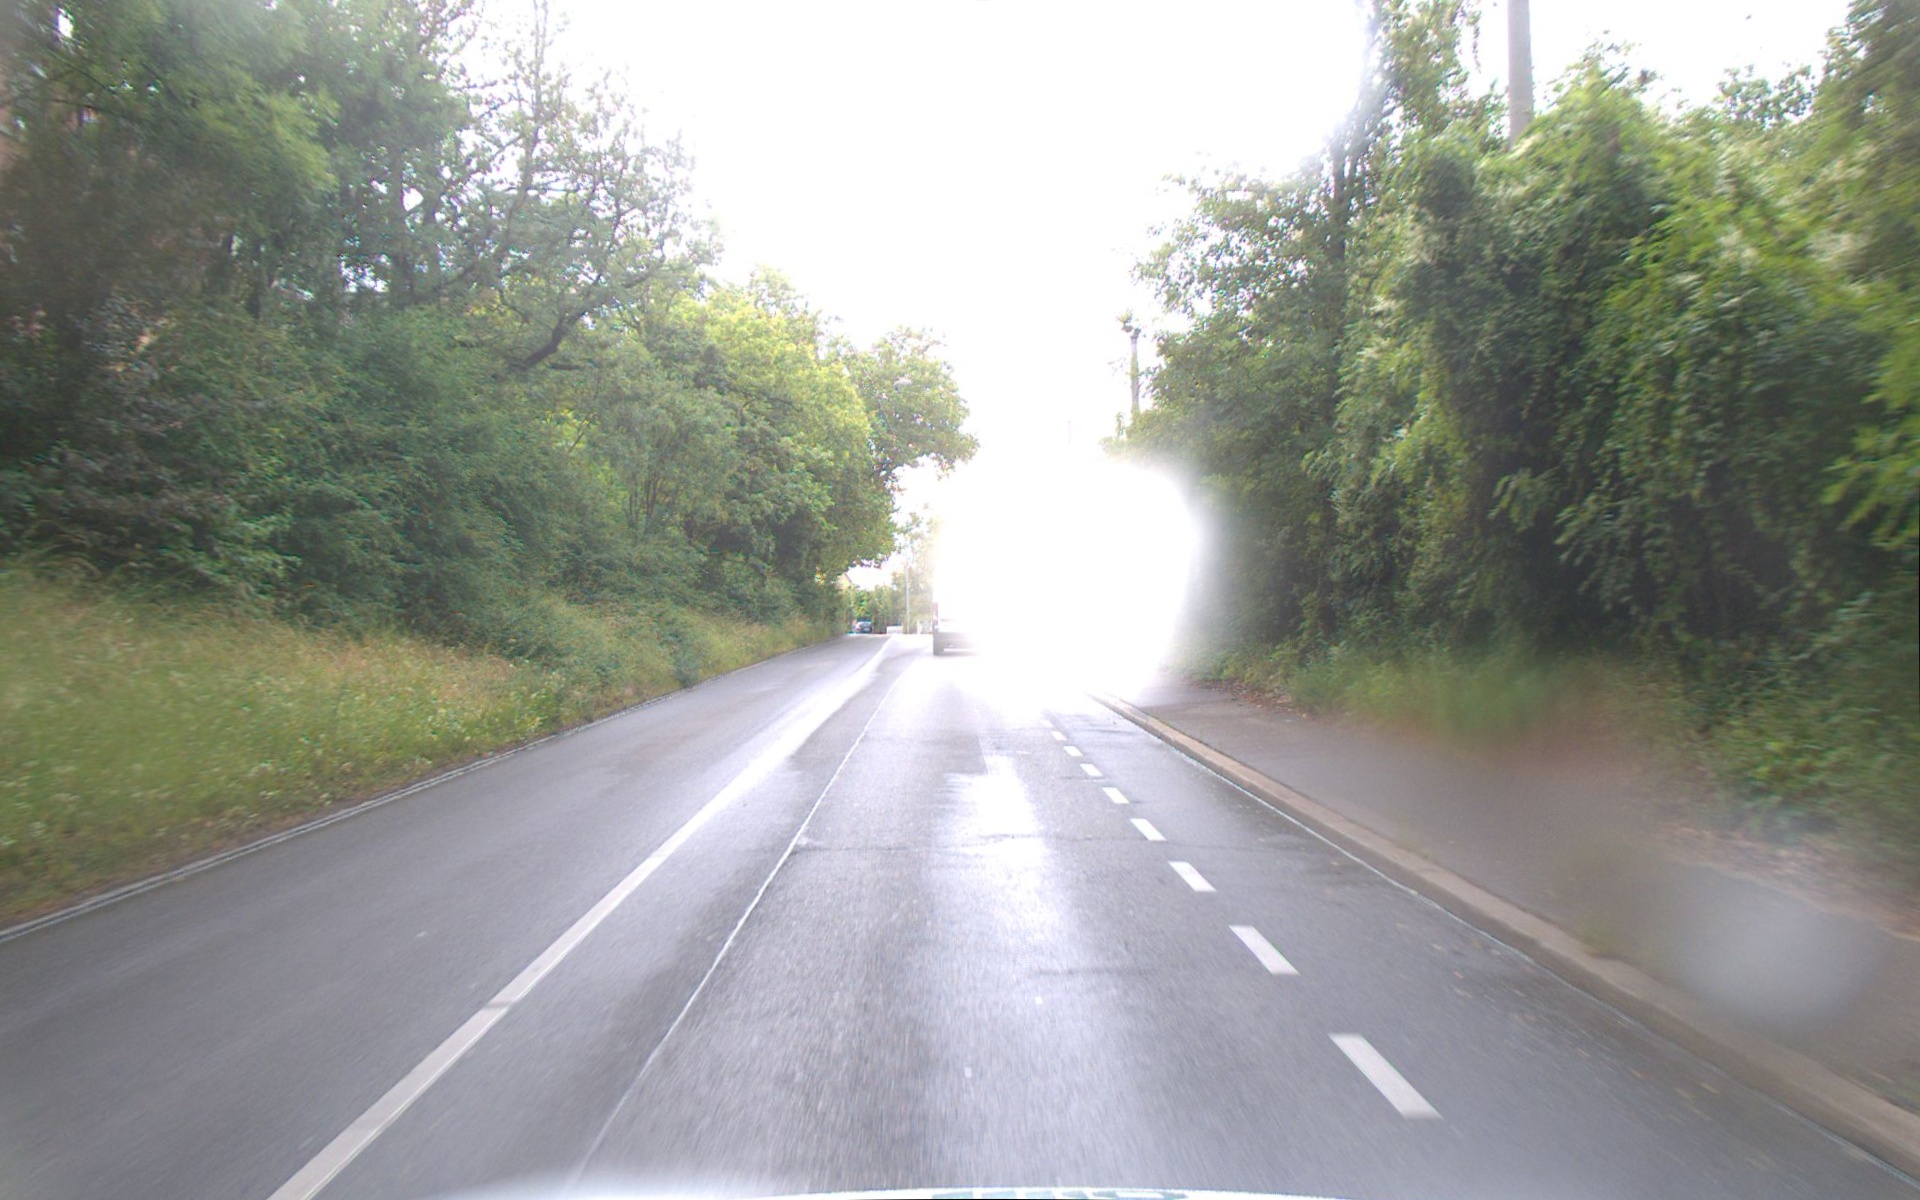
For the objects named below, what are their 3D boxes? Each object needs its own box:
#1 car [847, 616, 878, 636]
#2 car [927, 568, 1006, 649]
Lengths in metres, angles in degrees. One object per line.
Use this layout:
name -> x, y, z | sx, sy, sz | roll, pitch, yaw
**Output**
car -> -9.218, 2.455, 155.878 | 2.075, 1.741, 4.697 | 1, 0, -13
car -> 0.139, 0.248, 49.129 | 2.192, 2.252, 4.712 | 1, 0, -1
